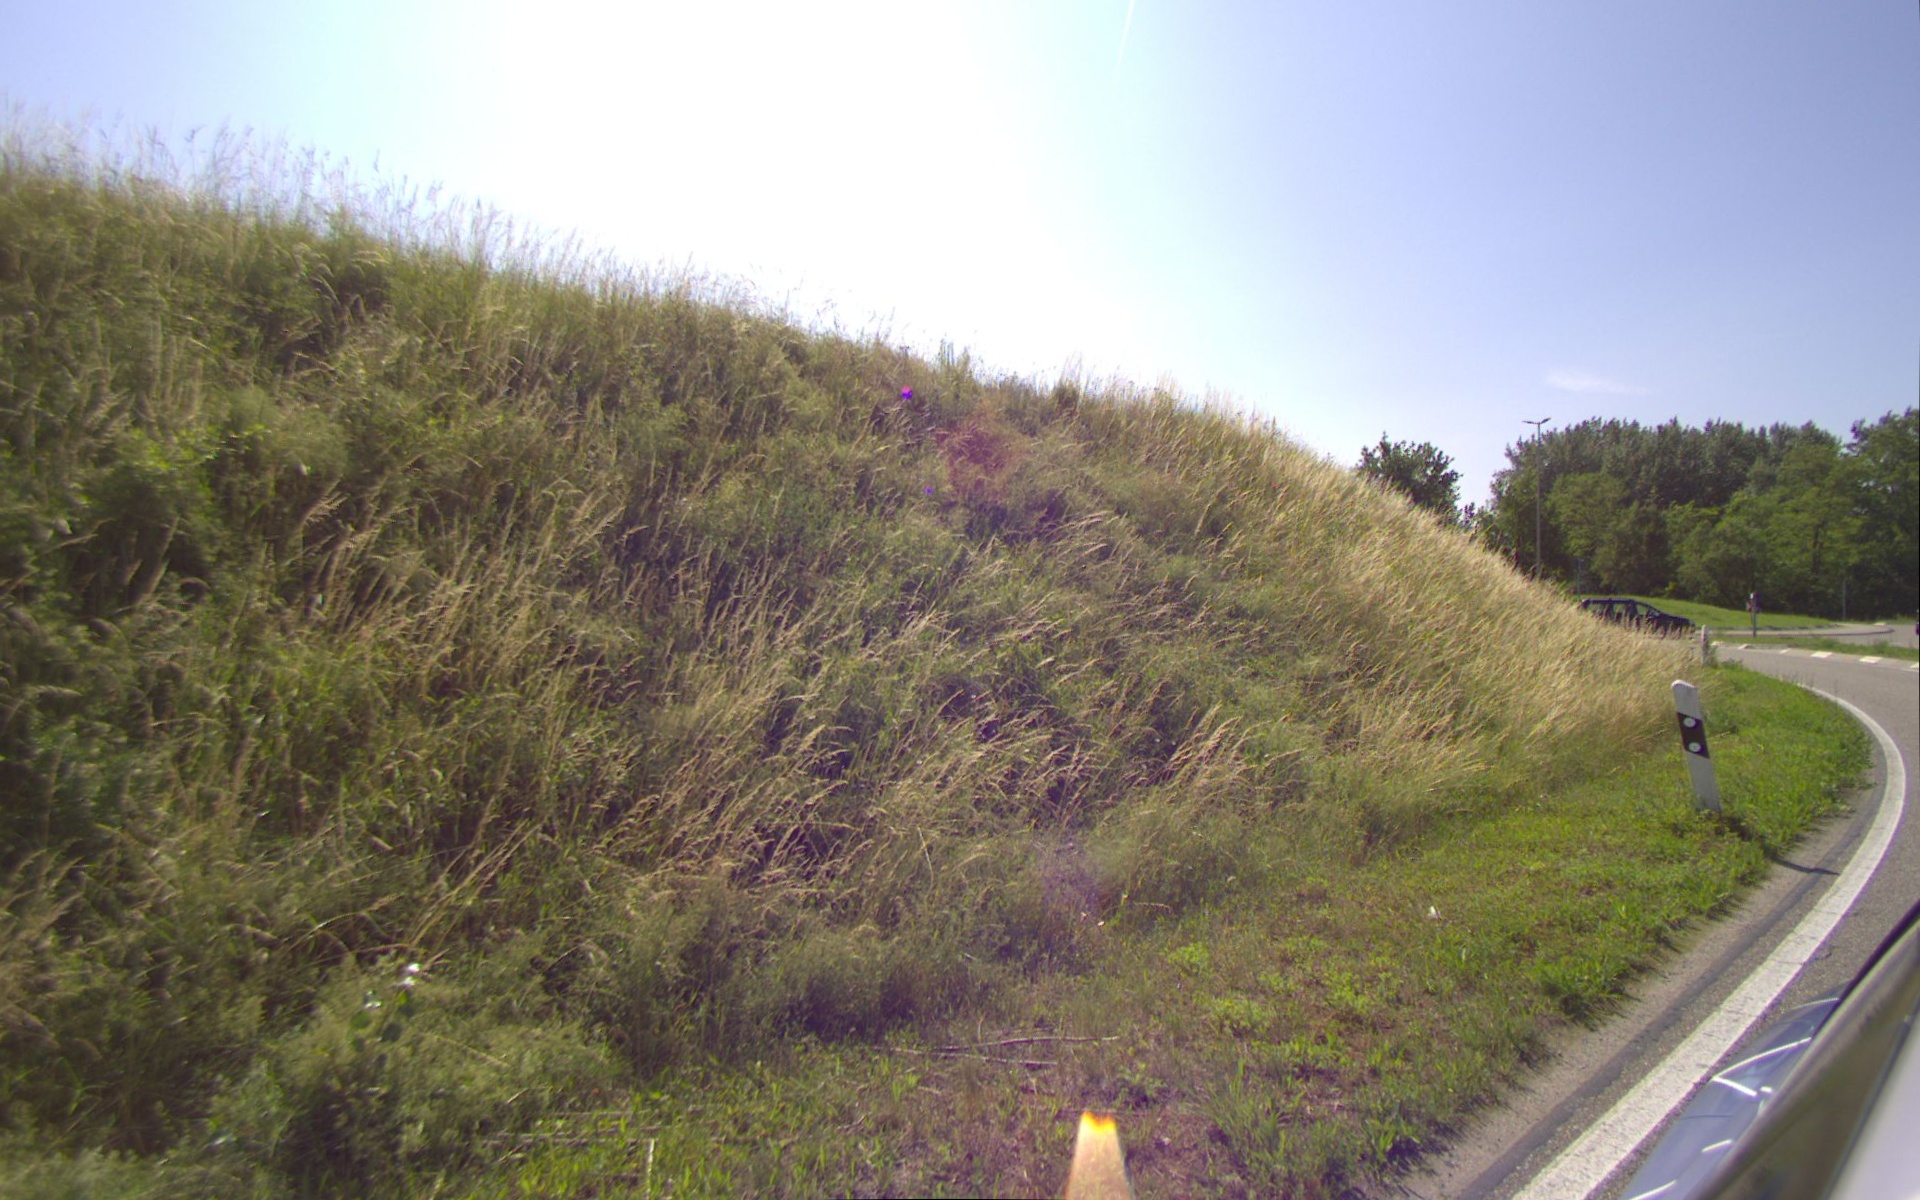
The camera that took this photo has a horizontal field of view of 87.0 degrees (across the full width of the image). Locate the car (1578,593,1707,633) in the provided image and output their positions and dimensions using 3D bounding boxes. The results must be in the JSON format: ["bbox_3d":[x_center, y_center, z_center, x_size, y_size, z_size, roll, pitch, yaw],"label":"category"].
[{"bbox_3d":[29.088,0.535,43.294,4.307,1.677,1.693,0,0,26],"label":"car"}]
